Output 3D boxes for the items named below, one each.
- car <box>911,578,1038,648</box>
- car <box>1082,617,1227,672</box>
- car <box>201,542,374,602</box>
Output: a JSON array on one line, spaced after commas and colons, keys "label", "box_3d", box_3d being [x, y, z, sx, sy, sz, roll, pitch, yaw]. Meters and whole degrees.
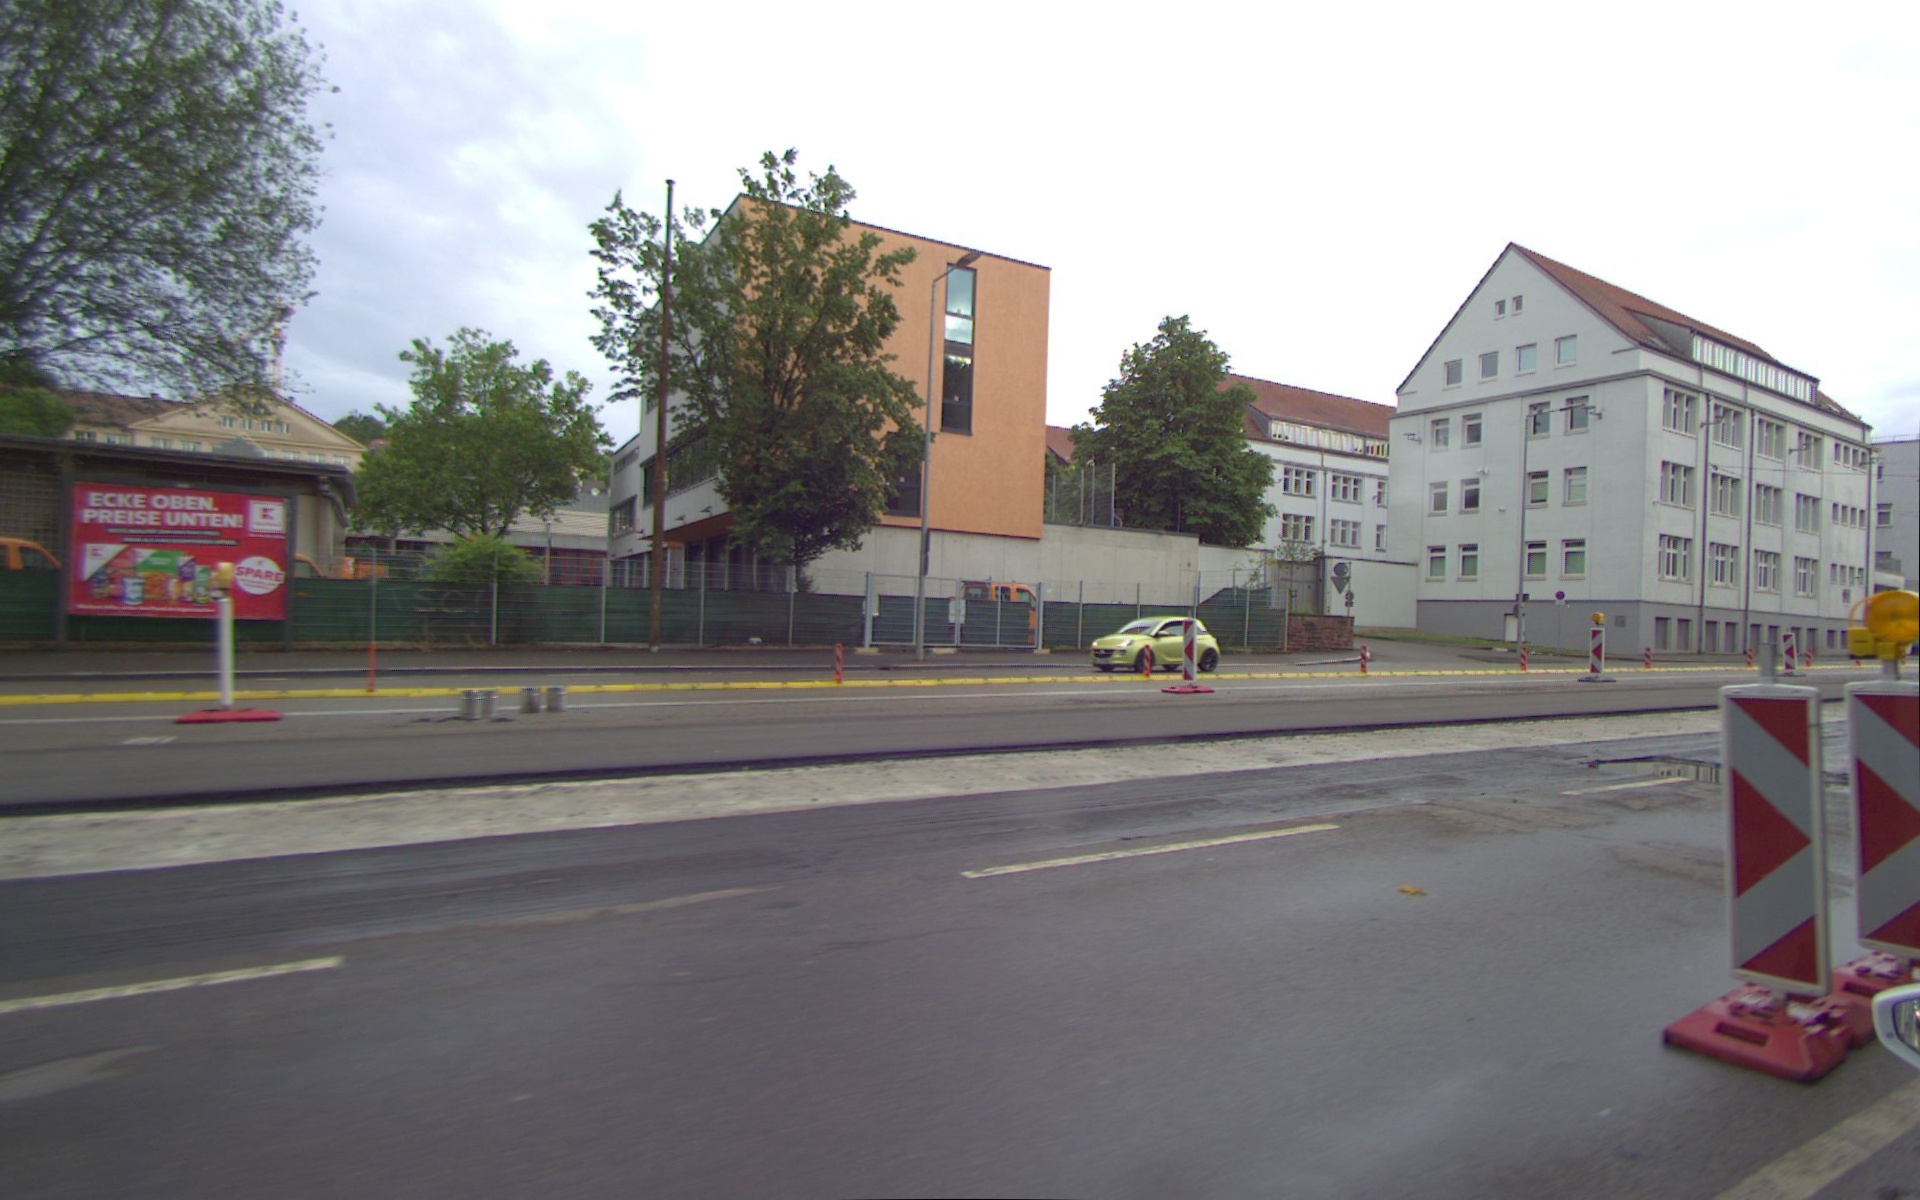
[{"label": "car", "box_3d": [0.512, 0.466, 33.293, 3.955, 2.199, 1.601, 2, -1, -31]}, {"label": "car", "box_3d": [5.235, 1.191, 26.876, 3.761, 1.386, 1.546, 2, -2, -31]}, {"label": "car", "box_3d": [-19.442, -0.753, 29.287, 1.959, 1.548, 4.026, 1, -1, 8]}]
